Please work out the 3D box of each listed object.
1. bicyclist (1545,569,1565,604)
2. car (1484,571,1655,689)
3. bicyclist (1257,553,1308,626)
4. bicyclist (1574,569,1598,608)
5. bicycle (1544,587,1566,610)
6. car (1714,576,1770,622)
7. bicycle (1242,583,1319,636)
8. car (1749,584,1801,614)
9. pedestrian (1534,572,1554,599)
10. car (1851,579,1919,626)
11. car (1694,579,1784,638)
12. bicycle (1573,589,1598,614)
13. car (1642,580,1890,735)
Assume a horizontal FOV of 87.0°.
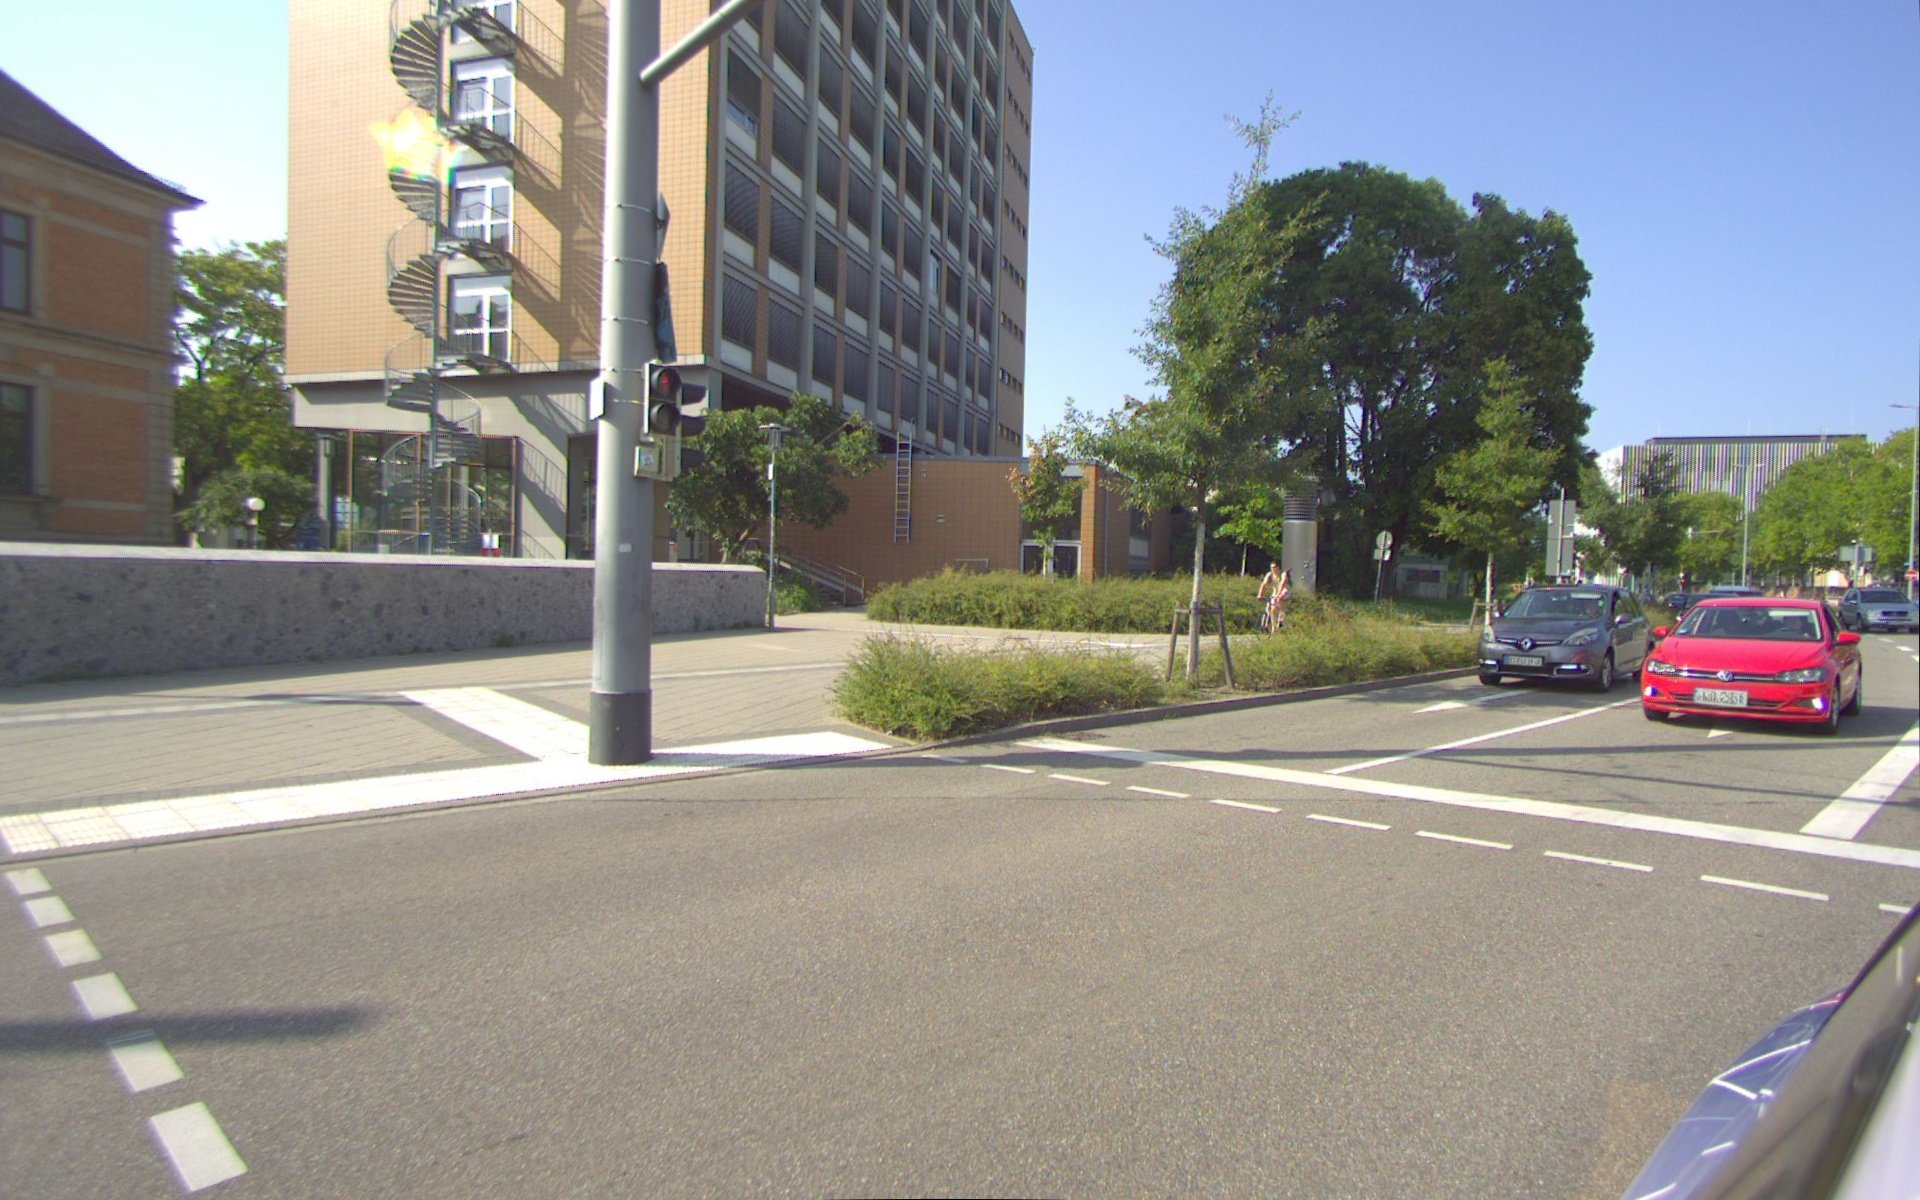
[{"bbox_3d":[29.562,-0.664,50.262,0.768,1.697,0.913,1,1,35],"label":"bicyclist"},{"bbox_3d":[10.052,0.407,16.530,1.775,1.626,4.358,2,1,39],"label":"car"},{"bbox_3d":[7.342,-0.248,23.059,0.771,1.613,0.910,2,1,43],"label":"bicyclist"},{"bbox_3d":[25.538,-0.470,41.266,0.718,1.531,0.991,2,2,37],"label":"bicyclist"},{"bbox_3d":[29.556,-0.088,50.275,0.768,1.131,2.275,1,1,34],"label":"bicycle"},{"bbox_3d":[35.760,-0.088,46.347,1.677,1.966,4.319,2,2,34],"label":"car"},{"bbox_3d":[7.313,0.184,23.035,0.771,1.131,2.268,2,2,42],"label":"bicycle"},{"bbox_3d":[47.873,-0.096,59.506,1.674,1.674,4.326,2,2,30],"label":"car"},{"bbox_3d":[32.406,-0.808,56.154,0.725,1.461,0.844,2,2,44],"label":"pedestrian"},{"bbox_3d":[37.030,0.126,40.239,1.771,1.742,4.477,-1,-1,34],"label":"car"},{"bbox_3d":[23.611,0.242,30.616,1.933,1.627,4.466,1,0,41],"label":"car"},{"bbox_3d":[25.529,0.065,41.282,0.717,0.971,1.896,2,2,36],"label":"bicycle"},{"bbox_3d":[9.818,0.564,12.200,4.298,1.510,1.685,0,2,-43],"label":"car"}]
